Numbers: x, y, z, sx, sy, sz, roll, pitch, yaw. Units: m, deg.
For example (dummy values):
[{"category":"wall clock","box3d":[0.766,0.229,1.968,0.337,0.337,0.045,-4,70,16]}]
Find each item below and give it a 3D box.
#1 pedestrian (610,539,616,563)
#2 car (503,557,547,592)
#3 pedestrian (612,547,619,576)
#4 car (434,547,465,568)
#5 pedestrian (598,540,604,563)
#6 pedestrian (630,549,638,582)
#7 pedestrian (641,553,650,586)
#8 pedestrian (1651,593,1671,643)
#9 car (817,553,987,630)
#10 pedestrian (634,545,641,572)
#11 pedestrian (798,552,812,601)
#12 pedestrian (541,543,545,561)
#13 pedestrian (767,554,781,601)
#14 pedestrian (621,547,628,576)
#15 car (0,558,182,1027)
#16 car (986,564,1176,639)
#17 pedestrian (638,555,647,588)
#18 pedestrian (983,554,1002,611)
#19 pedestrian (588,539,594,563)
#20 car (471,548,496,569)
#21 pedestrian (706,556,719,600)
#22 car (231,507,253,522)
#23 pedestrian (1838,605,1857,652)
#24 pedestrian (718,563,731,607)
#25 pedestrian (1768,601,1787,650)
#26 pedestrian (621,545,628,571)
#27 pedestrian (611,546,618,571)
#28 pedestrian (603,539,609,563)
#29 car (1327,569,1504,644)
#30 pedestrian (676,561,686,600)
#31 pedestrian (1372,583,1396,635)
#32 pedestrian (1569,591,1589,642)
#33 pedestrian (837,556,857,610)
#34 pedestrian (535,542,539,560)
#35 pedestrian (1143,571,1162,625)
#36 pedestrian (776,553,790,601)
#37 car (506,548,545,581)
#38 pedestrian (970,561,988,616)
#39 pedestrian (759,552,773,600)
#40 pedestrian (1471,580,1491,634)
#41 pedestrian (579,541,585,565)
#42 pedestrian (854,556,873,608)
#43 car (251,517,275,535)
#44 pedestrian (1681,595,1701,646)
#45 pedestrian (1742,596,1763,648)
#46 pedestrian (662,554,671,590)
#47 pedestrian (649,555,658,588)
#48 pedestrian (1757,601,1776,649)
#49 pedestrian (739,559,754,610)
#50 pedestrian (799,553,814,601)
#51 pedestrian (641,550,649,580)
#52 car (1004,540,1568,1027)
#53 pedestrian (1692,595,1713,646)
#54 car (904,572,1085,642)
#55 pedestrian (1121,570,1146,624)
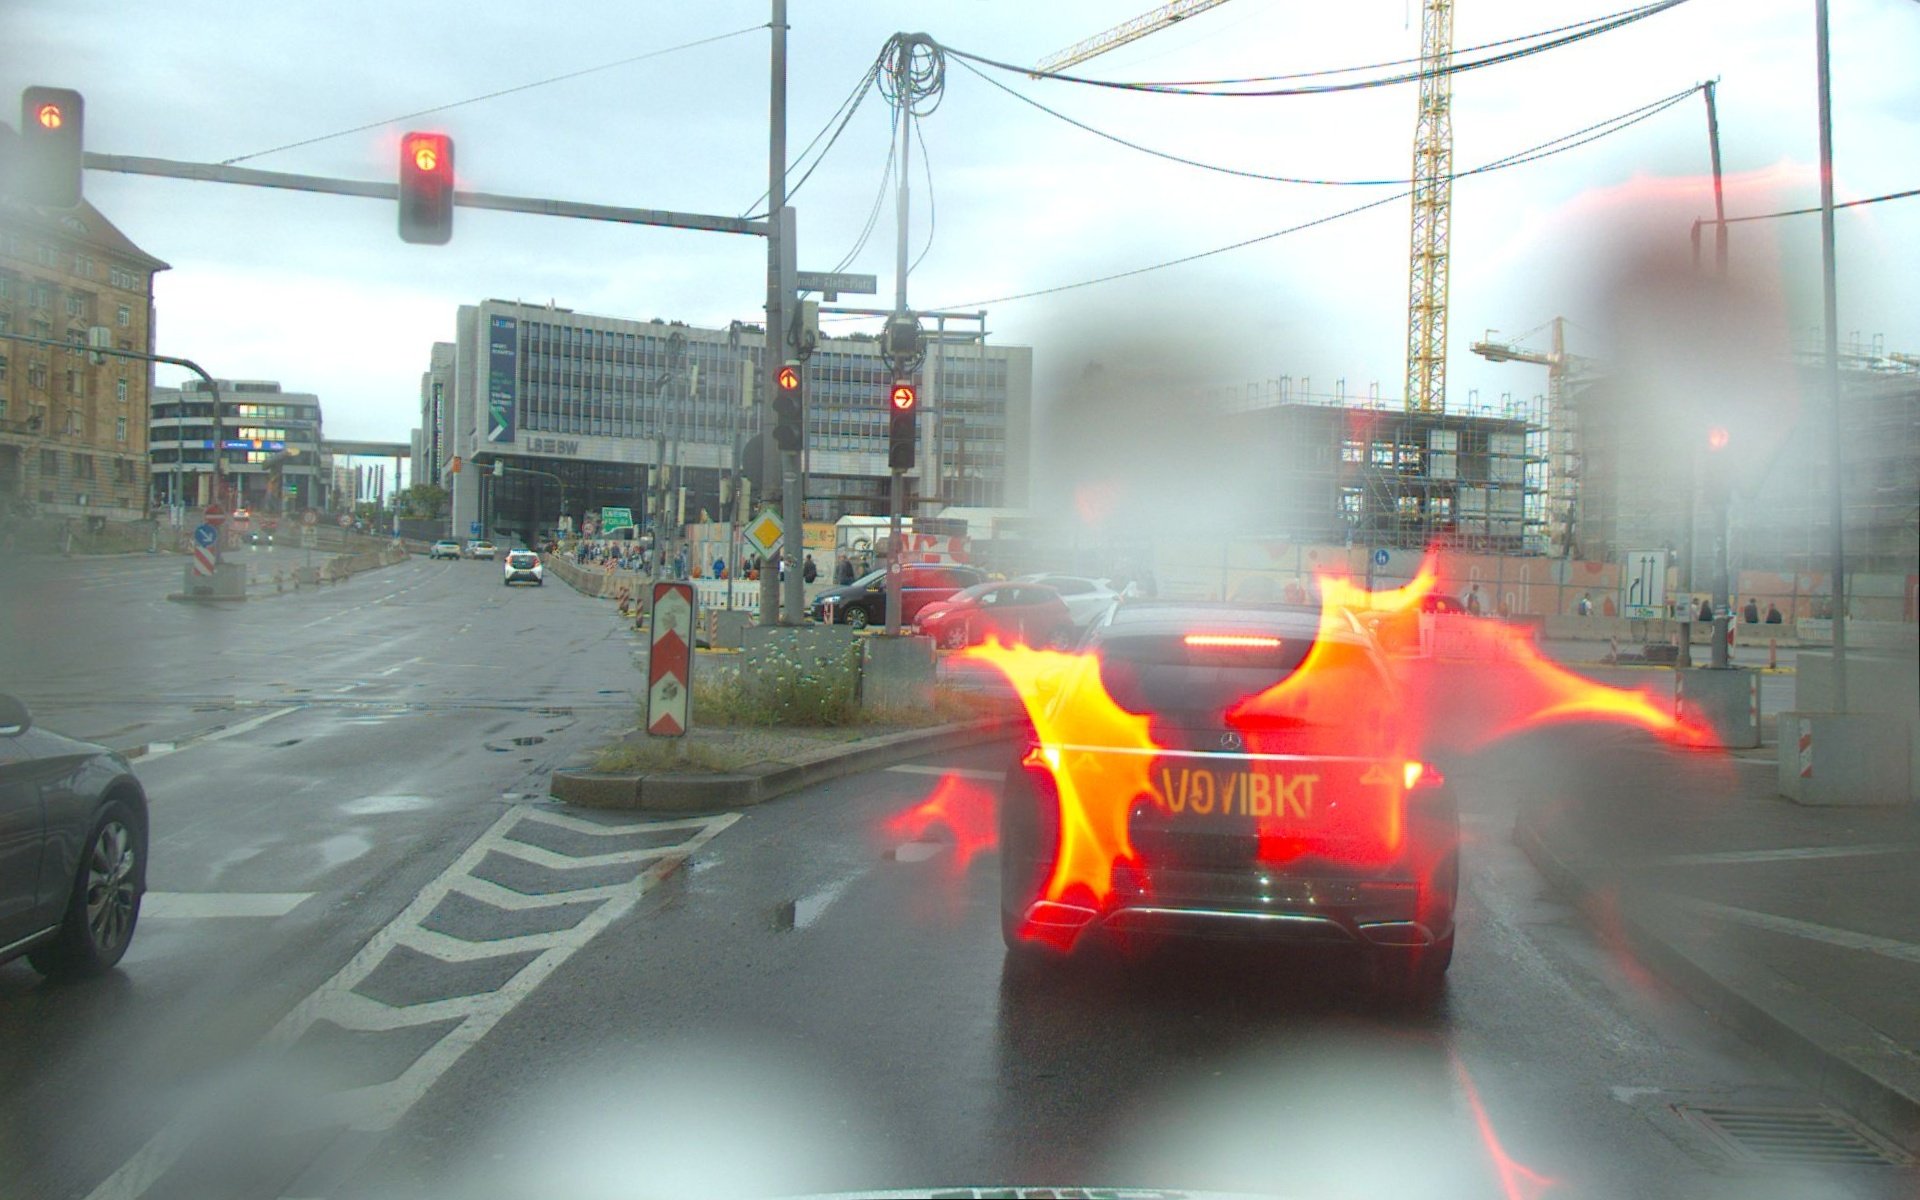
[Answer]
[{"category":"pedestrian","box3d":[-28.613,-4.021,136.195,0.355,1.931,0.573,2,-1,-18]},{"category":"car","box3d":[-20.224,-1.183,76.791,1.752,1.499,3.542,2,-1,-17]},{"category":"pedestrian","box3d":[-23.381,-2.592,112.222,0.355,1.931,0.573,2,-1,-18]},{"category":"car","box3d":[-44.048,-3.622,142.640,1.968,1.668,3.968,3,-1,-25]},{"category":"pedestrian","box3d":[-30.037,-4.050,138.424,0.355,1.931,0.573,2,-1,-18]},{"category":"pedestrian","box3d":[-19.329,-2.047,98.050,0.355,1.931,0.573,2,-1,-18]},{"category":"pedestrian","box3d":[-18.365,-1.773,96.532,0.355,1.931,0.573,2,-1,-18]},{"category":"pedestrian","box3d":[27.808,0.719,65.598,0.565,1.931,0.360,2,-1,-17]},{"category":"car","box3d":[-1.507,-0.192,42.180,3.924,1.764,1.991,2,-1,-17]},{"category":"pedestrian","box3d":[-23.433,-3.035,120.069,0.355,1.931,0.573,2,-1,-18]},{"category":"pedestrian","box3d":[-6.190,-0.923,66.101,0.356,1.931,0.572,2,-1,-22]},{"category":"pedestrian","box3d":[-45.296,-5.244,179.489,0.355,1.931,0.574,2,-1,-15]},{"category":"pedestrian","box3d":[-7.659,-0.912,68.091,0.356,1.931,0.572,2,-1,-22]},{"category":"pedestrian","box3d":[-22.635,-2.570,111.632,0.355,1.931,0.574,2,-1,-14]},{"category":"car","box3d":[-3.735,0.601,4.255,1.749,1.427,4.480,2,1,-7]},{"category":"car","box3d":[2.843,0.046,38.895,3.981,1.579,1.988,2,-1,-20]},{"category":"pedestrian","box3d":[-18.801,-1.681,97.990,0.355,1.931,0.573,2,-1,-18]},{"category":"pedestrian","box3d":[1.110,-0.592,56.669,0.563,1.931,0.362,2,-1,-3]},{"category":"pedestrian","box3d":[-30.803,-4.078,138.092,0.355,1.931,0.573,2,-1,-18]},{"category":"car","box3d":[-42.537,-3.694,147.705,1.704,1.668,3.412,2,3,-23]},{"category":"pedestrian","box3d":[-10.883,-0.966,72.775,0.356,1.931,0.572,2,-1,-22]},{"category":"car","box3d":[-100.254,-11.908,230.910,1.977,1.847,3.950,3,-1,-35]},{"category":"pedestrian","box3d":[36.402,1.163,67.839,0.565,1.931,0.360,2,-1,-17]},{"category":"pedestrian","box3d":[-10.384,-0.661,72.954,0.356,1.931,0.572,2,-1,-22]},{"category":"pedestrian","box3d":[33.075,1.025,66.903,0.565,1.931,0.360,2,-1,-17]},{"category":"pedestrian","box3d":[-25.570,-3.179,126.073,0.355,1.931,0.573,2,-1,-18]},{"category":"pedestrian","box3d":[-26.263,-3.152,125.755,0.355,1.931,0.573,2,-1,-18]},{"category":"pedestrian","box3d":[-29.055,-3.985,135.731,0.355,1.931,0.573,2,-1,-18]},{"category":"car","box3d":[11.663,0.176,42.443,3.925,1.738,1.990,2,-1,-19]},{"category":"pedestrian","box3d":[-13.992,-0.967,82.868,0.355,1.931,0.573,2,-1,-18]},{"category":"pedestrian","box3d":[16.104,0.335,62.824,0.645,1.934,0.629,2,-1,-15]},{"category":"pedestrian","box3d":[23.652,0.616,63.166,0.564,1.931,0.361,2,-1,-12]},{"category":"pedestrian","box3d":[-4.137,-0.615,60.510,0.563,1.931,0.362,2,-1,28]},{"category":"pedestrian","box3d":[-45.822,-5.266,179.263,0.355,1.931,0.574,2,-1,-15]},{"category":"pedestrian","box3d":[6.953,-0.065,59.710,0.564,1.931,0.361,2,-1,-12]},{"category":"pedestrian","box3d":[-7.311,-0.942,68.273,0.356,1.931,0.572,2,-1,-22]},{"category":"car","box3d":[-25.850,-2.066,98.349,1.963,1.797,4.396,2,-1,-18]},{"category":"pedestrian","box3d":[0.695,-0.418,59.218,0.563,1.931,0.362,2,-1,1]},{"category":"pedestrian","box3d":[-7.948,-0.972,67.755,0.356,1.931,0.573,2,-1,-22]},{"category":"pedestrian","box3d":[19.221,0.259,61.056,0.564,1.931,0.361,2,-1,-12]},{"category":"pedestrian","box3d":[-31.465,-3.907,137.754,0.355,1.931,0.573,2,-1,-18]},{"category":"pedestrian","box3d":[-3.618,-0.671,61.810,0.359,1.931,0.567,3,-1,-43]},{"category":"car","box3d":[-87.049,-9.208,206.623,1.976,2.049,3.953,3,-1,-34]},{"category":"pedestrian","box3d":[28.315,0.798,64.059,0.564,1.931,0.361,2,-1,-12]},{"category":"pedestrian","box3d":[29.772,0.831,62.134,0.564,1.931,0.361,2,-1,-12]},{"category":"pedestrian","box3d":[-15.695,-1.496,88.505,0.355,1.931,0.573,2,-1,-18]},{"category":"pedestrian","box3d":[-17.921,-1.663,96.640,0.355,1.931,0.573,2,-1,-18]},{"category":"pedestrian","box3d":[32.771,1.016,67.211,0.565,1.931,0.360,2,-1,-17]},{"category":"pedestrian","box3d":[-8.279,-0.600,64.113,0.357,1.931,0.571,3,-1,-27]},{"category":"pedestrian","box3d":[-6.164,-0.920,66.330,0.356,1.931,0.572,2,-1,-22]},{"category":"pedestrian","box3d":[-21.027,-2.339,110.438,0.355,1.931,0.573,2,-1,-18]},{"category":"car","box3d":[1.255,0.643,7.626,1.851,1.571,3.995,2,-1,4]},{"category":"pedestrian","box3d":[28.487,0.797,63.460,0.564,1.931,0.361,2,-1,-12]},{"category":"car","box3d":[0.726,0.153,35.114,3.481,1.327,1.656,2,-1,-20]},{"category":"pedestrian","box3d":[6.336,-0.105,60.402,0.645,1.934,0.629,2,-1,-15]}]
